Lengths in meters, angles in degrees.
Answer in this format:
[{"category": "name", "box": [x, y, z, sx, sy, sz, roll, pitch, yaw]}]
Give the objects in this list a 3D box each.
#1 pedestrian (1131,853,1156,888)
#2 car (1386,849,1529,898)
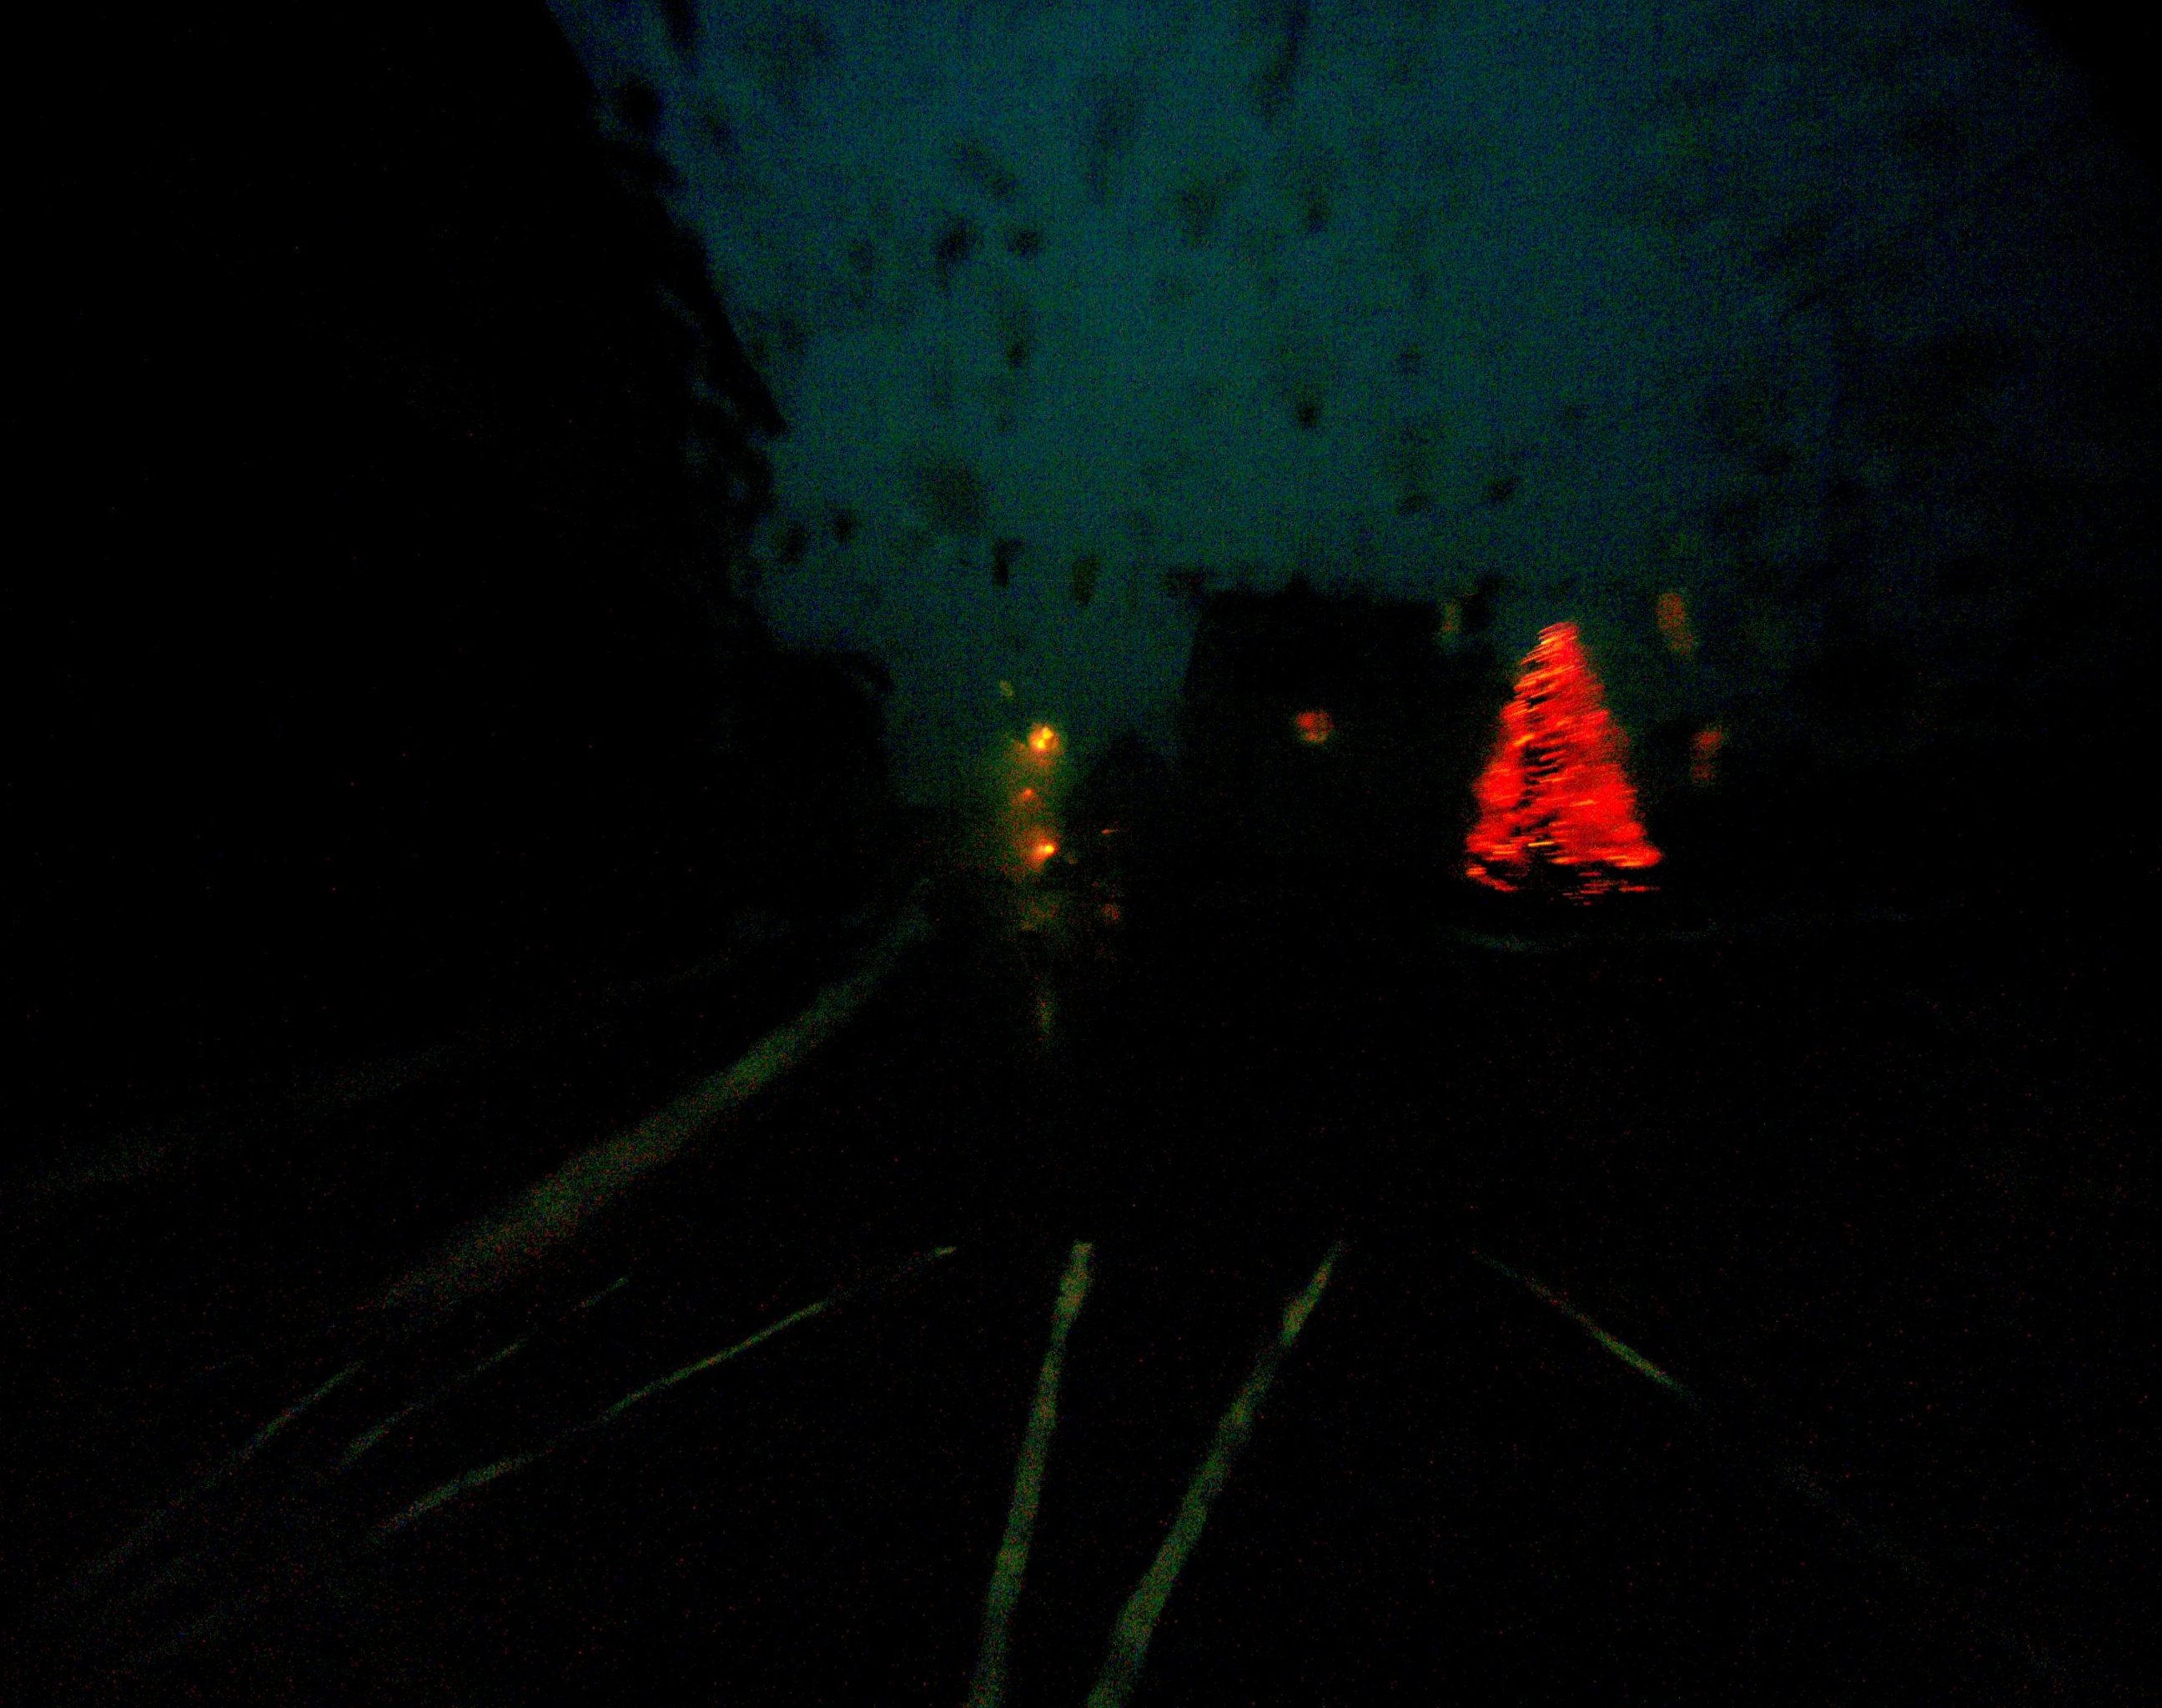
[{"category": "pedestrian", "box": [2.443, 0.648, 29.740, 0.810, 1.321, 0.659, -2, 1, -10]}, {"category": "car", "box": [11.861, 0.584, 24.050, 3.787, 1.365, 1.625, -2, 1, -6]}]
